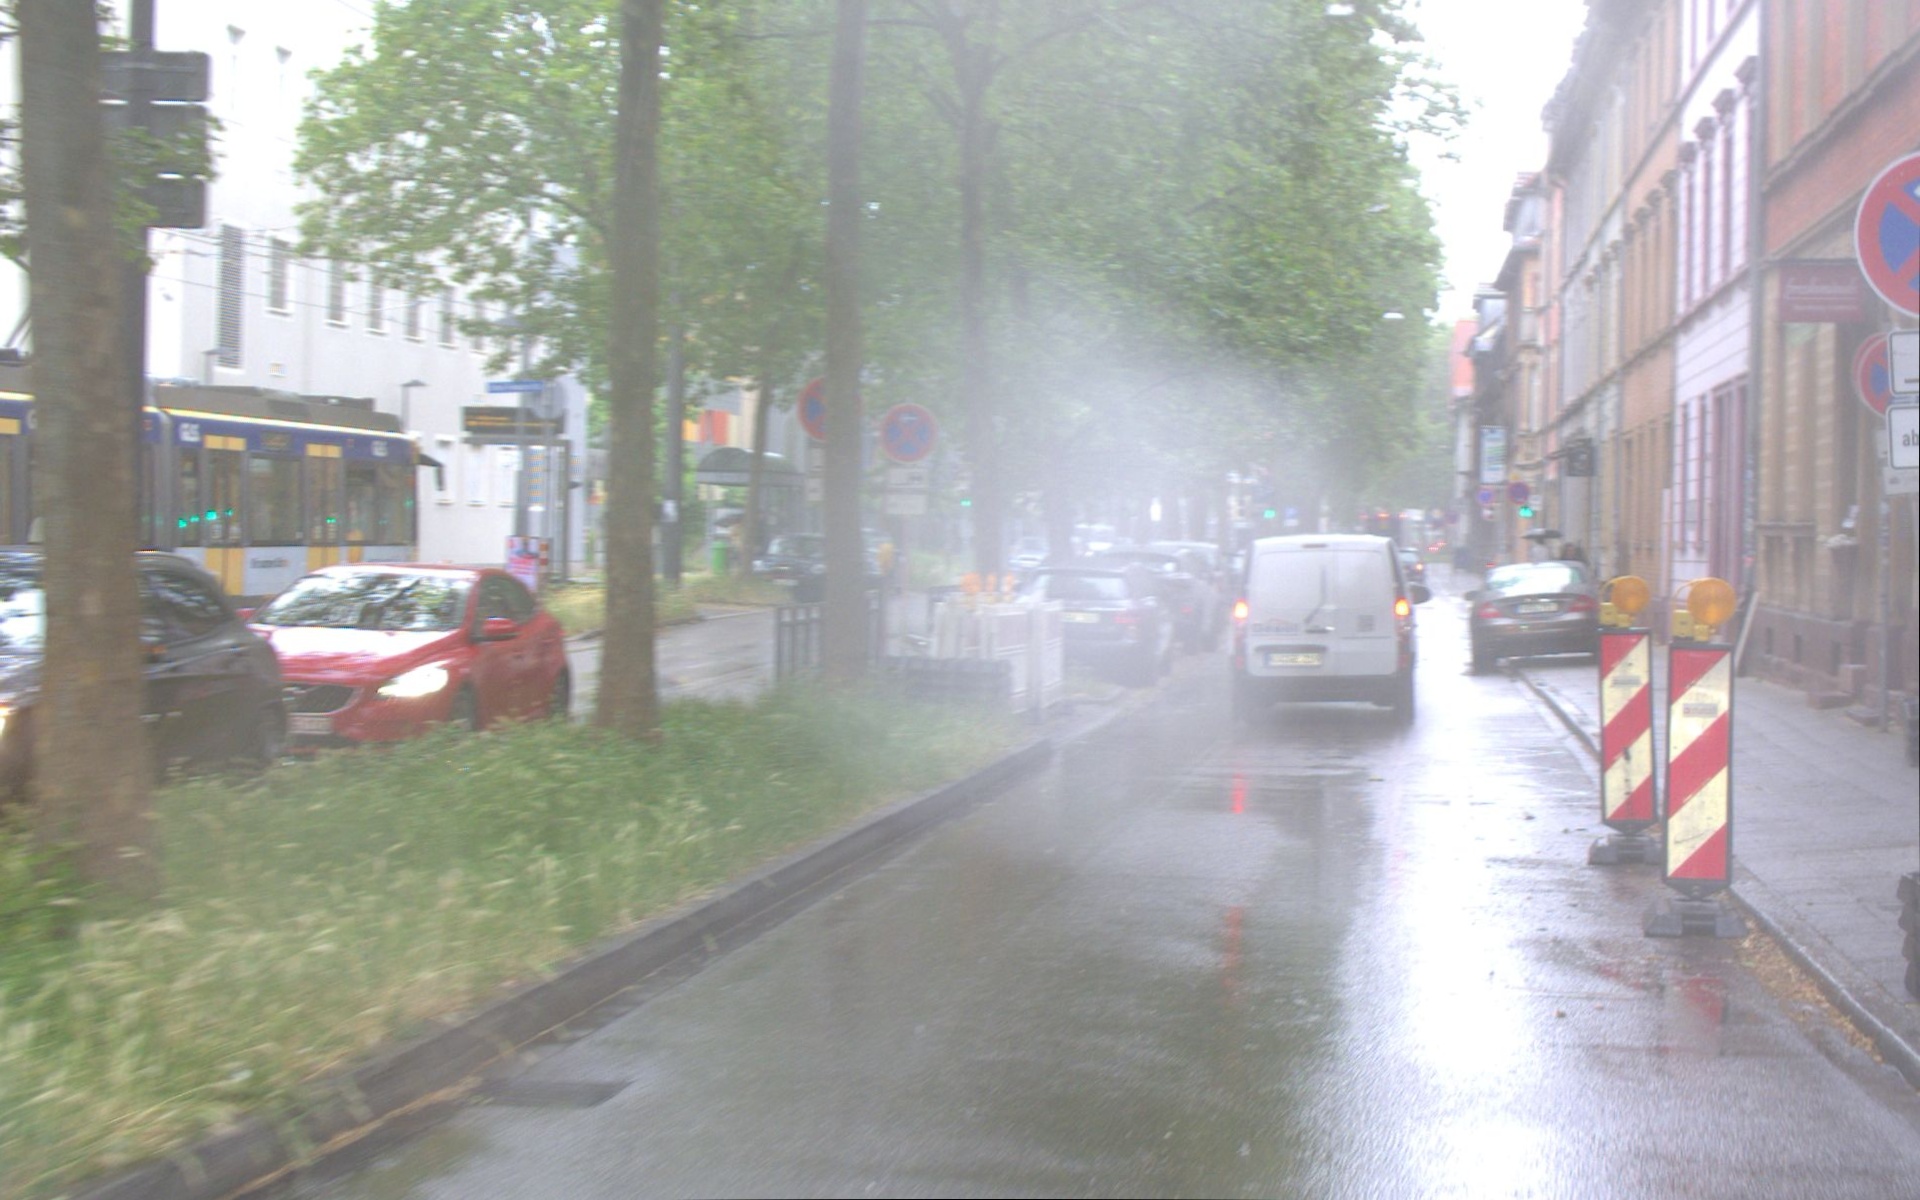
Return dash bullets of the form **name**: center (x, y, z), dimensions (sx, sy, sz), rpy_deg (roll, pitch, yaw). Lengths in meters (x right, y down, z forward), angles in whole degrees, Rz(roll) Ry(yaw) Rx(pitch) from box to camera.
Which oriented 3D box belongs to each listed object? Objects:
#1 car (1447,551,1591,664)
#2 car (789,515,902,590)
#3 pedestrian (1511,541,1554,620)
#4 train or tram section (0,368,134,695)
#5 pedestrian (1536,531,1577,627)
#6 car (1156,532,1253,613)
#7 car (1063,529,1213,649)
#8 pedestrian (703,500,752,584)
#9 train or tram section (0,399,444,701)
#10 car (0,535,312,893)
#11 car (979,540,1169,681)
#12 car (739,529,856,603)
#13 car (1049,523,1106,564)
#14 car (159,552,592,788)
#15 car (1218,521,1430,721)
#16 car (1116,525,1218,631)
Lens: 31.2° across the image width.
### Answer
- **car**: center (7.691, 0.072, 47.123), dimensions (1.814, 1.416, 4.695), rpy_deg (-2, 0, 10)
- **car**: center (-2.589, -1.090, 78.553), dimensions (1.994, 1.607, 3.999), rpy_deg (2, 1, 6)
- **pedestrian**: center (12.592, -0.434, 75.650), dimensions (0.840, 1.710, 1.107), rpy_deg (-2, 1, 8)
- **train or tram section**: center (-12.449, -0.913, 34.530), dimensions (3.107, 3.546, 14.572), rpy_deg (1, -2, 7)
- **pedestrian**: center (10.550, -0.371, 60.782), dimensions (0.639, 1.679, 0.603), rpy_deg (-1, 1, 6)
- **car**: center (4.923, -0.562, 68.849), dimensions (1.649, 1.495, 4.118), rpy_deg (3, 1, 7)
- **car**: center (2.624, -0.182, 49.781), dimensions (1.699, 1.630, 4.353), rpy_deg (1, 1, 9)
- **pedestrian**: center (-4.814, -1.199, 71.153), dimensions (0.818, 1.698, 0.872), rpy_deg (2, 1, 6)
- **train or tram section**: center (-10.824, -0.417, 49.007), dimensions (3.106, 3.546, 14.670), rpy_deg (1, -2, 6)
- **car**: center (-4.702, 0.451, 16.652), dimensions (1.742, 1.475, 4.430), rpy_deg (2, 1, 8)
- **car**: center (1.418, 0.086, 40.865), dimensions (1.829, 1.498, 4.612), rpy_deg (3, 1, 6)
- **car**: center (-3.305, -0.720, 70.509), dimensions (1.739, 1.338, 3.755), rpy_deg (4, 2, 6)
- **car**: center (4.788, -2.310, 140.646), dimensions (1.993, 1.575, 4.001), rpy_deg (2, 1, -2)
- **car**: center (-3.898, 0.406, 23.651), dimensions (1.742, 1.393, 4.232), rpy_deg (2, 1, 7)
- **car**: center (3.531, 0.200, 33.931), dimensions (1.904, 1.791, 4.113), rpy_deg (2, 0, 4)
- **car**: center (3.619, -0.410, 59.657), dimensions (1.624, 1.676, 3.659), rpy_deg (2, 2, 4)
